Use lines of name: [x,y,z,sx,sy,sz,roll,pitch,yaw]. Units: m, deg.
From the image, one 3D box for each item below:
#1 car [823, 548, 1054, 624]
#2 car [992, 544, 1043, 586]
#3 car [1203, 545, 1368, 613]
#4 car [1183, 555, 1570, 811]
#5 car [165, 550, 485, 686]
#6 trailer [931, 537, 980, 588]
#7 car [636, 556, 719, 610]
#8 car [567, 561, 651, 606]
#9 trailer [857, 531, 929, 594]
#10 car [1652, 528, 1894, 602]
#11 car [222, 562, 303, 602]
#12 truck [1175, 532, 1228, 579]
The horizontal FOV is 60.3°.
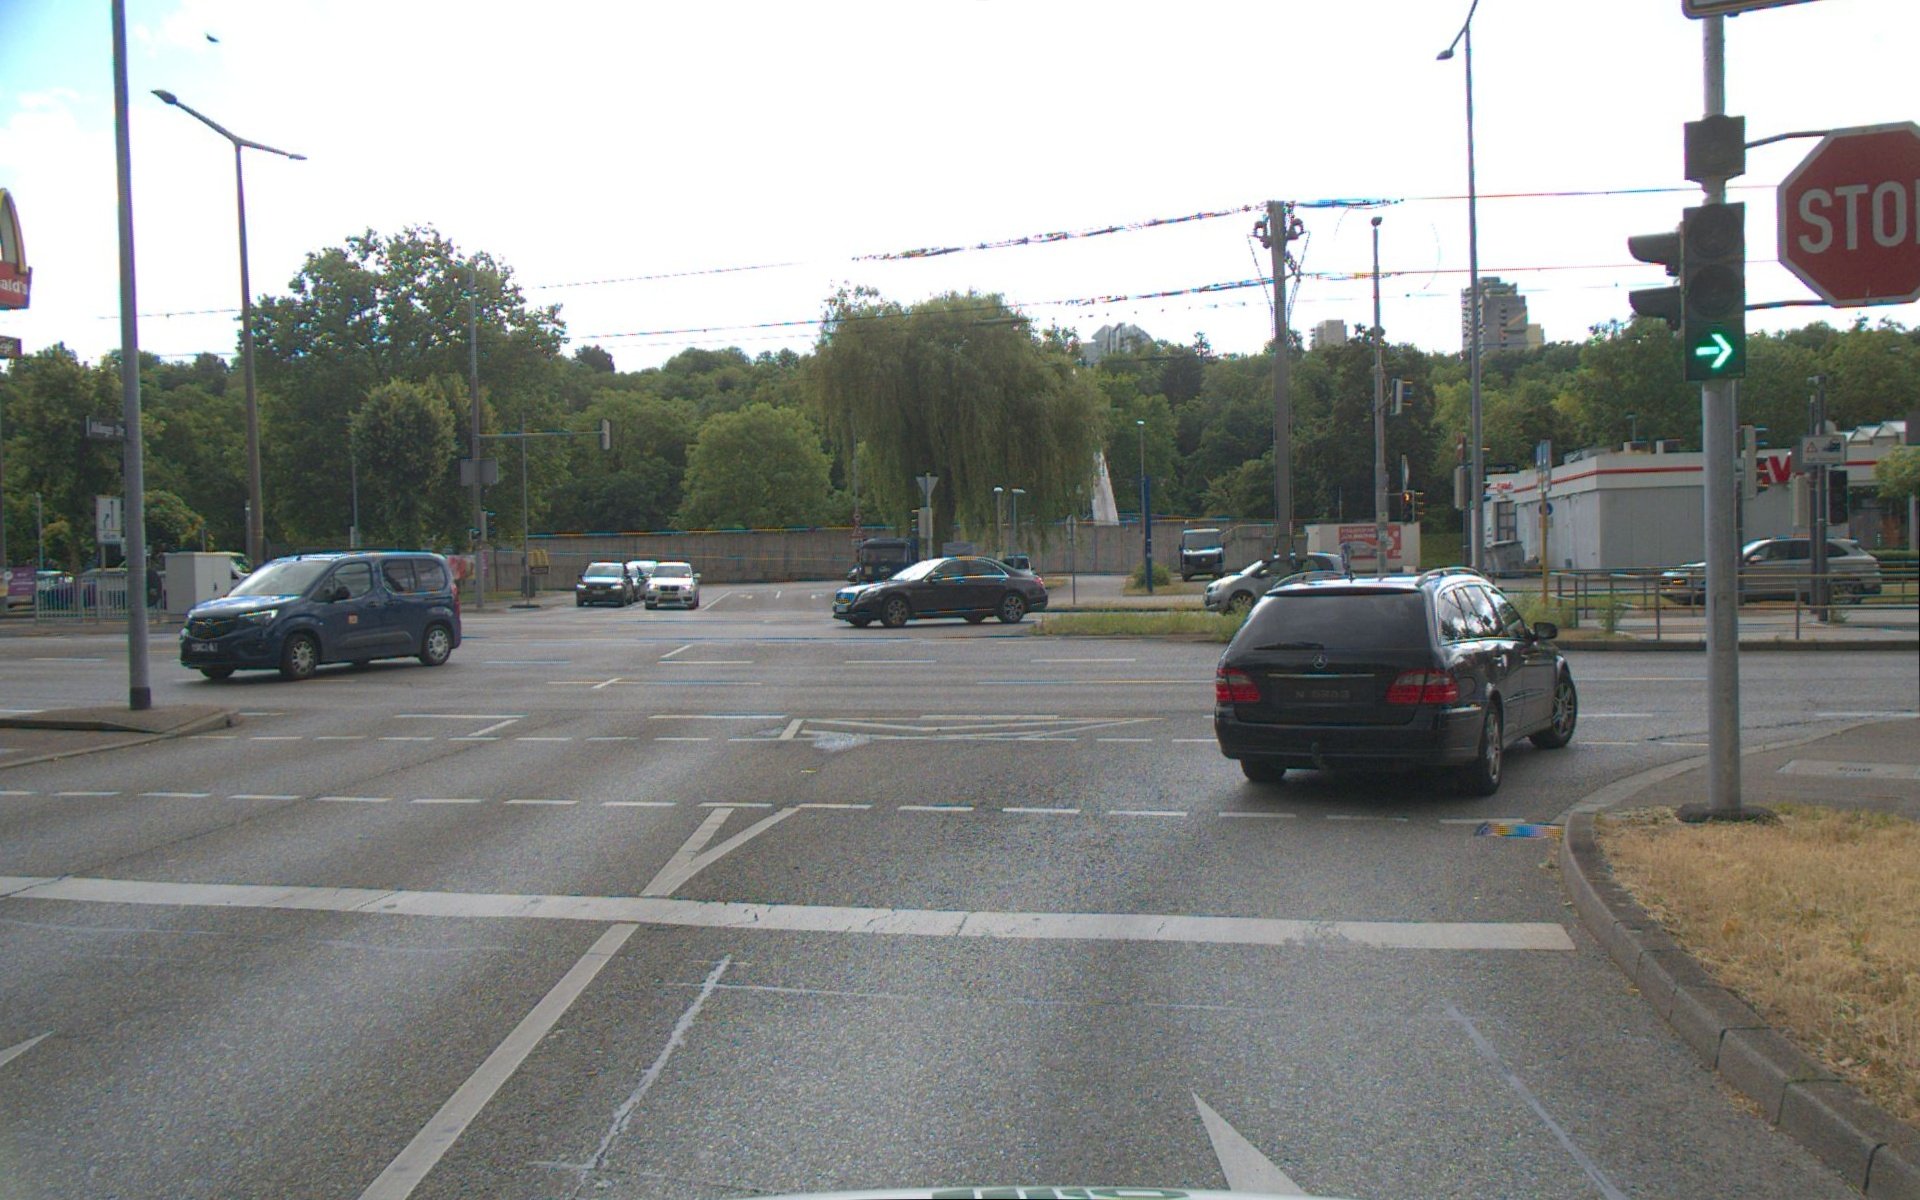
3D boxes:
car: [-0.441,-0.346,37.010,4.999,1.550,1.726,-2,1,-31]
car: [2.623,-1.573,74.362,1.951,1.780,4.004,-1,1,7]
car: [7.870,-0.518,40.215,3.691,1.534,1.705,-1,1,2]
car: [3.356,0.459,12.582,1.788,1.535,4.568,-1,2,28]
car: [-9.302,0.189,24.646,1.571,1.805,4.555,-1,1,27]
trailer: [-0.197,-1.683,75.284,1.952,2.222,4.002,-2,0,3]
car: [-10.453,-0.659,61.563,1.951,1.892,4.004,-1,1,7]
car: [-13.562,-0.663,64.106,1.951,1.668,4.004,-1,1,7]
trailer: [-2.915,-1.627,73.116,2.302,2.627,4.924,-2,1,7]
car: [19.327,-0.833,39.527,4.818,1.628,2.017,-1,1,11]
car: [-39.225,-1.008,93.079,3.925,2.049,1.990,-2,0,-18]
truck: [11.326,-2.066,77.772,2.187,2.048,5.244,-2,1,6]
